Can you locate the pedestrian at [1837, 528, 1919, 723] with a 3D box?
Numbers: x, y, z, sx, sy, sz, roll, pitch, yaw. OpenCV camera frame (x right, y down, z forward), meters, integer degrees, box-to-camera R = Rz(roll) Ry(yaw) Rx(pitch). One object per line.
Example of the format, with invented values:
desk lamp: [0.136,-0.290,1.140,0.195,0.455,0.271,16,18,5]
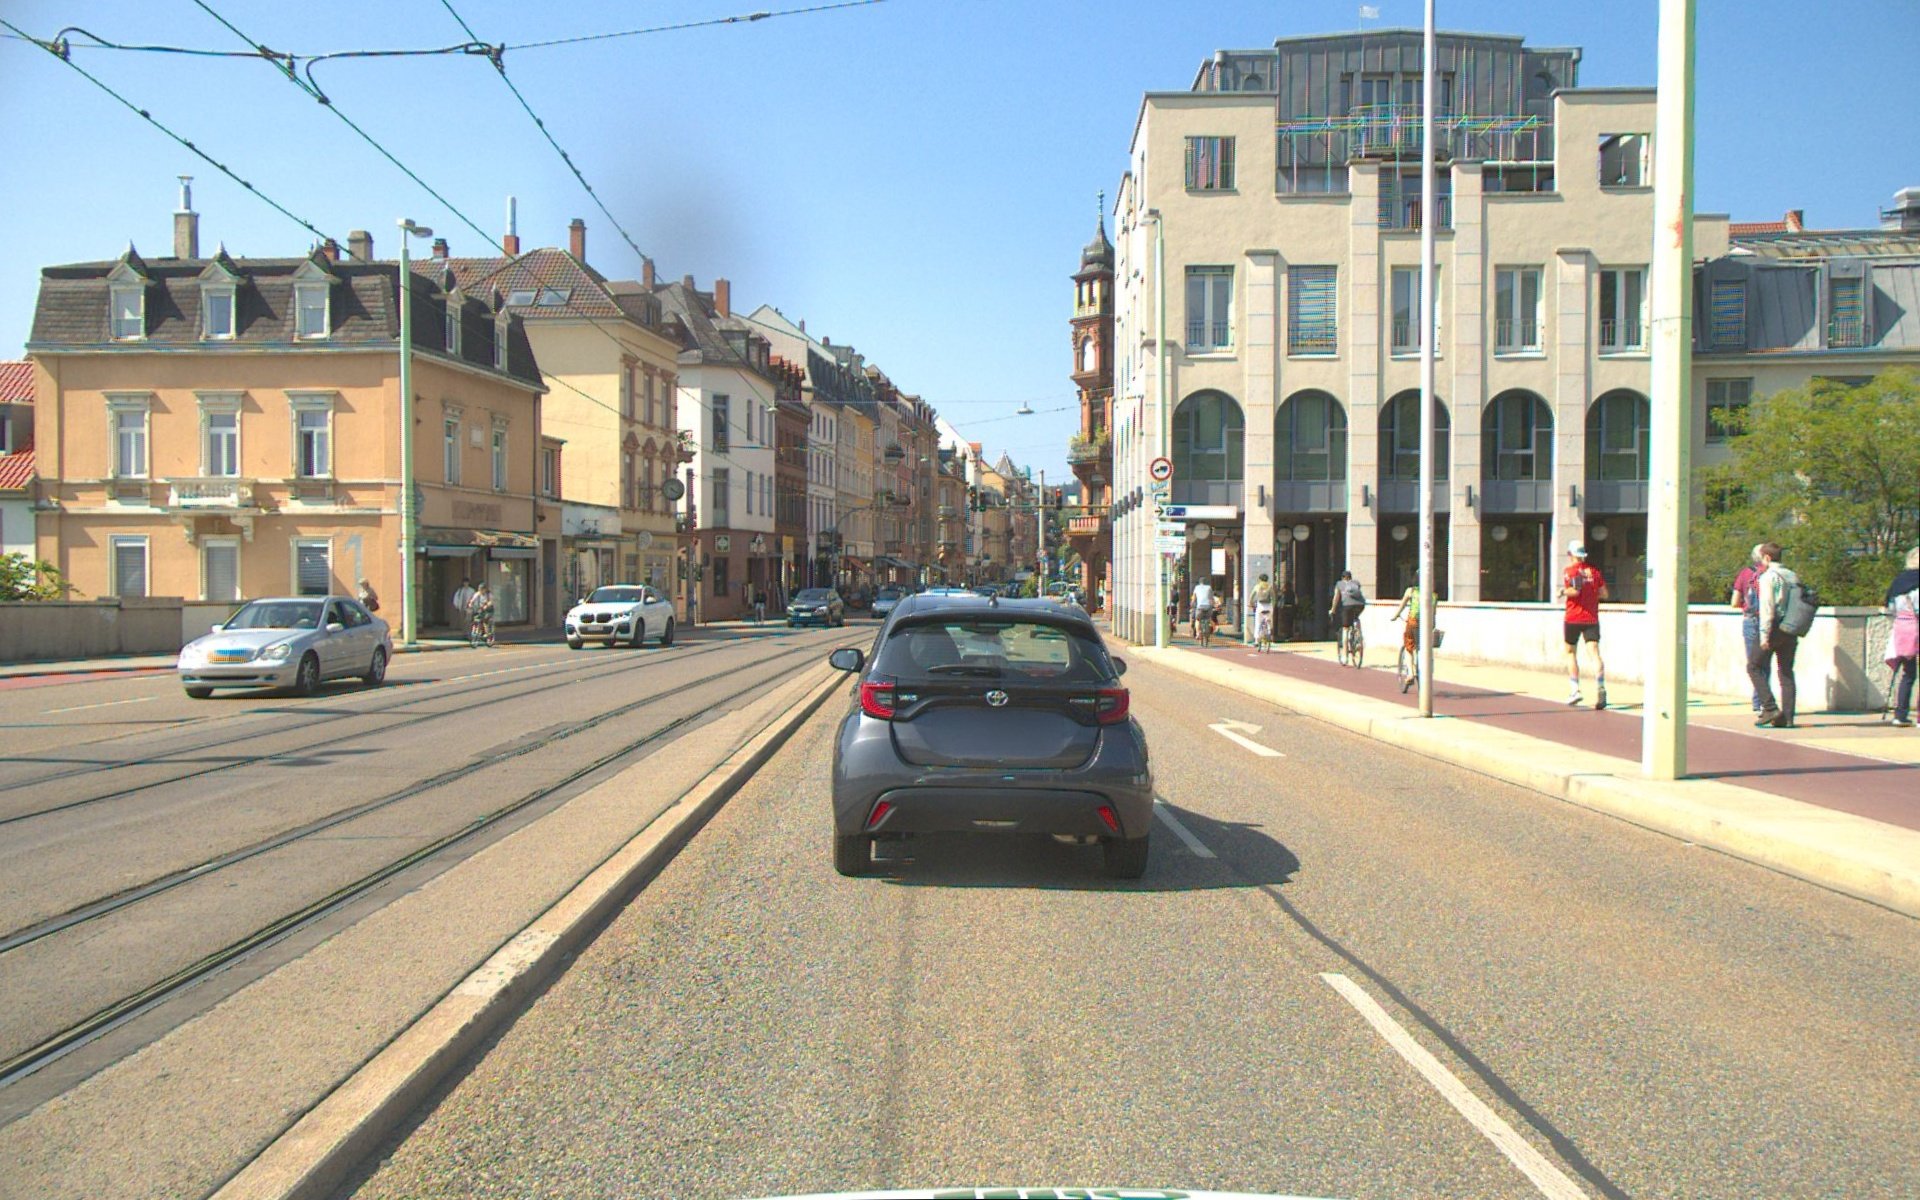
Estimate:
pedestrian: [9.024,0.229,15.928,0.723,1.808,1.017,-2,0,12]

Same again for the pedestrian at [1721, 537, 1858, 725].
pedestrian: [8.048,0.287,16.086,0.739,1.748,1.073,-2,0,-1]

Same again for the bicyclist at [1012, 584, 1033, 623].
bicyclist: [4.326,0.241,113.755,1.202,2.572,1.105,5,0,3]

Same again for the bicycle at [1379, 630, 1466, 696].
bicycle: [6.054,0.812,21.745,0.581,0.779,1.866,-1,0,-1]

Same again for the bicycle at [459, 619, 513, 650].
bicycle: [-12.879,0.928,44.952,0.607,0.728,2.047,2,1,8]

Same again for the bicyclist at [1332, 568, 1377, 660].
bicyclist: [6.947,0.247,29.151,0.575,1.586,0.701,-1,0,-3]

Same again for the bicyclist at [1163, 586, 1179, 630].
bicyclist: [7.360,0.282,57.753,0.433,1.492,0.485,-2,0,20]

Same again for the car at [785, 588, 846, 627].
car: [-5.958,0.283,68.378,1.756,1.572,3.924,0,0,7]

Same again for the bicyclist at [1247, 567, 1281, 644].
bicyclist: [6.783,0.123,36.902,0.575,1.679,0.701,-1,0,-3]

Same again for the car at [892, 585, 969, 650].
car: [-0.765,0.413,42.309,1.859,1.557,3.999,1,0,-1]

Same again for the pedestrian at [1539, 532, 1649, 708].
pedestrian: [7.323,0.221,19.165,0.794,1.958,1.127,-1,0,-1]

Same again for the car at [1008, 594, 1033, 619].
car: [5.330,0.547,145.886,1.952,2.048,4.002,5,0,4]

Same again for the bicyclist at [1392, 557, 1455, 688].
bicyclist: [6.044,0.289,21.575,0.592,1.679,0.702,-1,0,0]

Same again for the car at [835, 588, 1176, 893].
car: [0.193,0.697,10.142,1.685,1.499,3.657,1,0,-1]

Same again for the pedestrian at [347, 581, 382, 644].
pedestrian: [-15.938,0.333,44.304,0.636,1.629,0.566,4,2,-1]

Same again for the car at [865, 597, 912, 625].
car: [-3.880,0.579,90.318,1.951,1.457,4.003,1,0,6]

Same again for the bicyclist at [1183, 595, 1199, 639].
bicyclist: [7.536,0.543,53.983,0.413,1.407,0.443,-2,0,-1]

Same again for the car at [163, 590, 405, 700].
car: [-9.965,0.609,24.761,1.695,1.486,4.374,1,0,2]

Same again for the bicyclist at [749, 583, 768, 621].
bicyclist: [-9.254,0.095,75.815,0.690,1.679,0.622,2,1,8]

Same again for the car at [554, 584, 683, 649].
car: [-8.941,0.404,43.781,1.951,1.614,4.656,0,0,7]

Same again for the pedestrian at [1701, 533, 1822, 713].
pedestrian: [8.468,0.233,17.510,0.724,1.833,1.015,-2,0,-1]

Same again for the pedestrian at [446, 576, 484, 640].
pedestrian: [-14.392,0.238,48.106,0.721,1.796,0.787,4,0,-1]

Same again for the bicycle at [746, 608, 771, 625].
bicycle: [-9.243,0.766,75.966,0.607,0.728,2.047,2,1,8]

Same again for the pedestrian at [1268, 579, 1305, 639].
pedestrian: [9.376,0.258,47.544,0.724,1.642,1.015,4,0,-1]

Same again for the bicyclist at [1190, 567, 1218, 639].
bicyclist: [6.364,0.065,43.212,0.575,1.852,0.701,-1,0,-3]

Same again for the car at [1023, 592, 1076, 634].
car: [3.360,0.469,62.822,1.671,1.491,4.325,1,0,-1]

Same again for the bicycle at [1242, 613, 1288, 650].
bicycle: [6.788,0.697,36.880,0.582,0.779,1.865,-1,0,-3]

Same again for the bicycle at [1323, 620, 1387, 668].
bicycle: [6.949,0.763,29.195,0.582,0.779,1.830,-1,0,-3]

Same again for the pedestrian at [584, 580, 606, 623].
pedestrian: [-14.234,0.058,64.454,0.636,1.629,0.566,4,2,-1]

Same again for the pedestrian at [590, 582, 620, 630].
pedestrian: [-12.858,0.222,59.872,0.746,1.682,0.712,4,0,8]

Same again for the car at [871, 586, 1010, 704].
car: [-0.307,0.596,24.440,1.859,1.557,3.999,1,0,-1]

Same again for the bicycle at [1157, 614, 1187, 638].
bicycle: [7.397,0.907,57.755,0.939,0.779,0.418,-2,0,22]

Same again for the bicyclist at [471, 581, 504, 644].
bicyclist: [-12.851,0.331,44.995,0.614,1.679,0.622,2,1,8]

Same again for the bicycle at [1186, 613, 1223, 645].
bicycle: [6.374,0.749,43.186,0.582,0.779,1.865,-1,0,-3]
